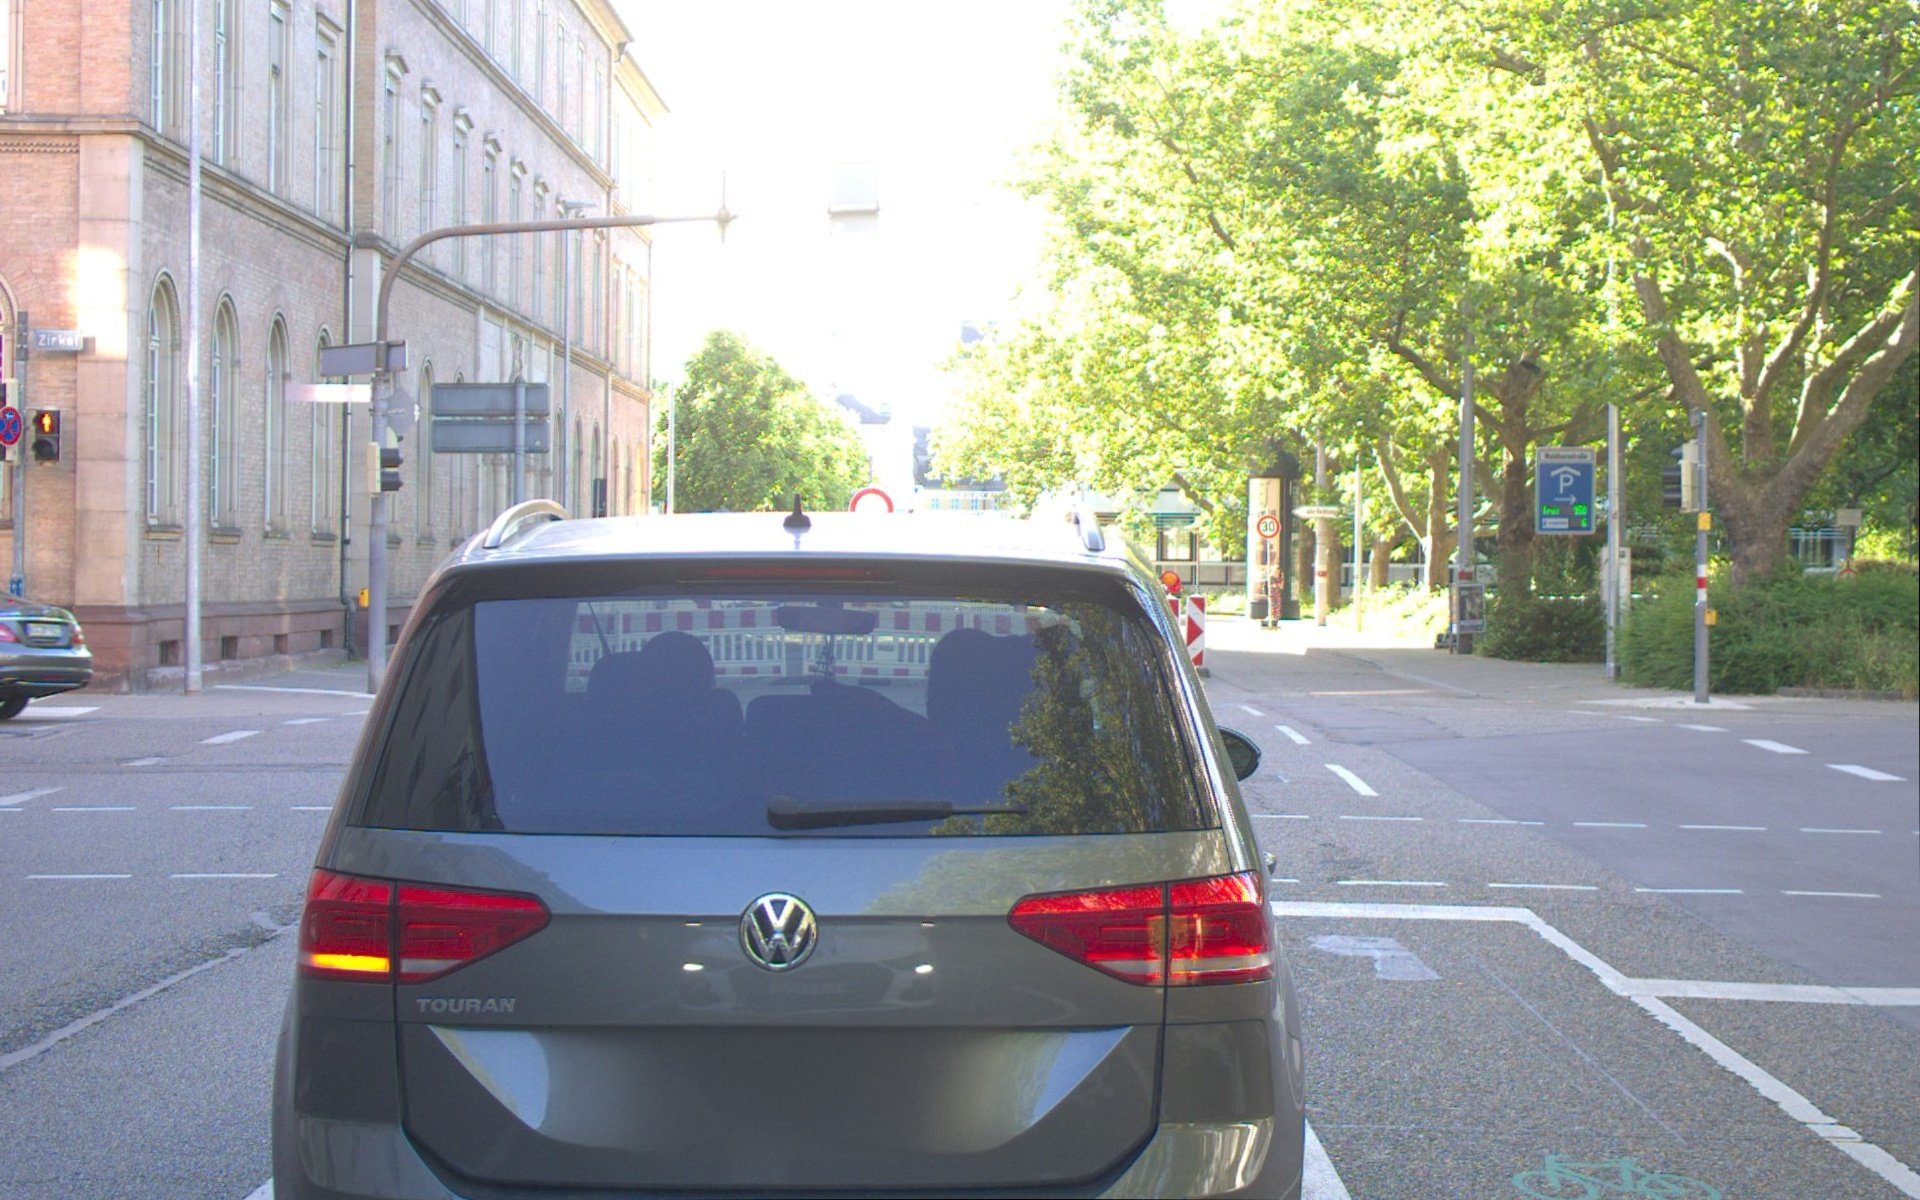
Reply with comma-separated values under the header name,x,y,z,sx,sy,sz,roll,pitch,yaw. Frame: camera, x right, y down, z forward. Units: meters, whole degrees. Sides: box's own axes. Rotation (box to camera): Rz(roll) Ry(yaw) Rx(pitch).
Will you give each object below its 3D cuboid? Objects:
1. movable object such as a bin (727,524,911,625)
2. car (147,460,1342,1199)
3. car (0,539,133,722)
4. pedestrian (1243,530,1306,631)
name,x,y,z,sx,sy,sz,roll,pitch,yaw
movable object such as a bin,-4.005,-0.731,96.989,4.838,2.767,2.467,1,0,43
car,-0.318,0.573,7.103,1.762,1.601,4.000,1,1,0
car,-9.786,0.211,30.269,4.497,1.524,1.928,1,1,17
pedestrian,8.397,-0.530,91.929,1.419,2.658,1.148,1,0,-8
